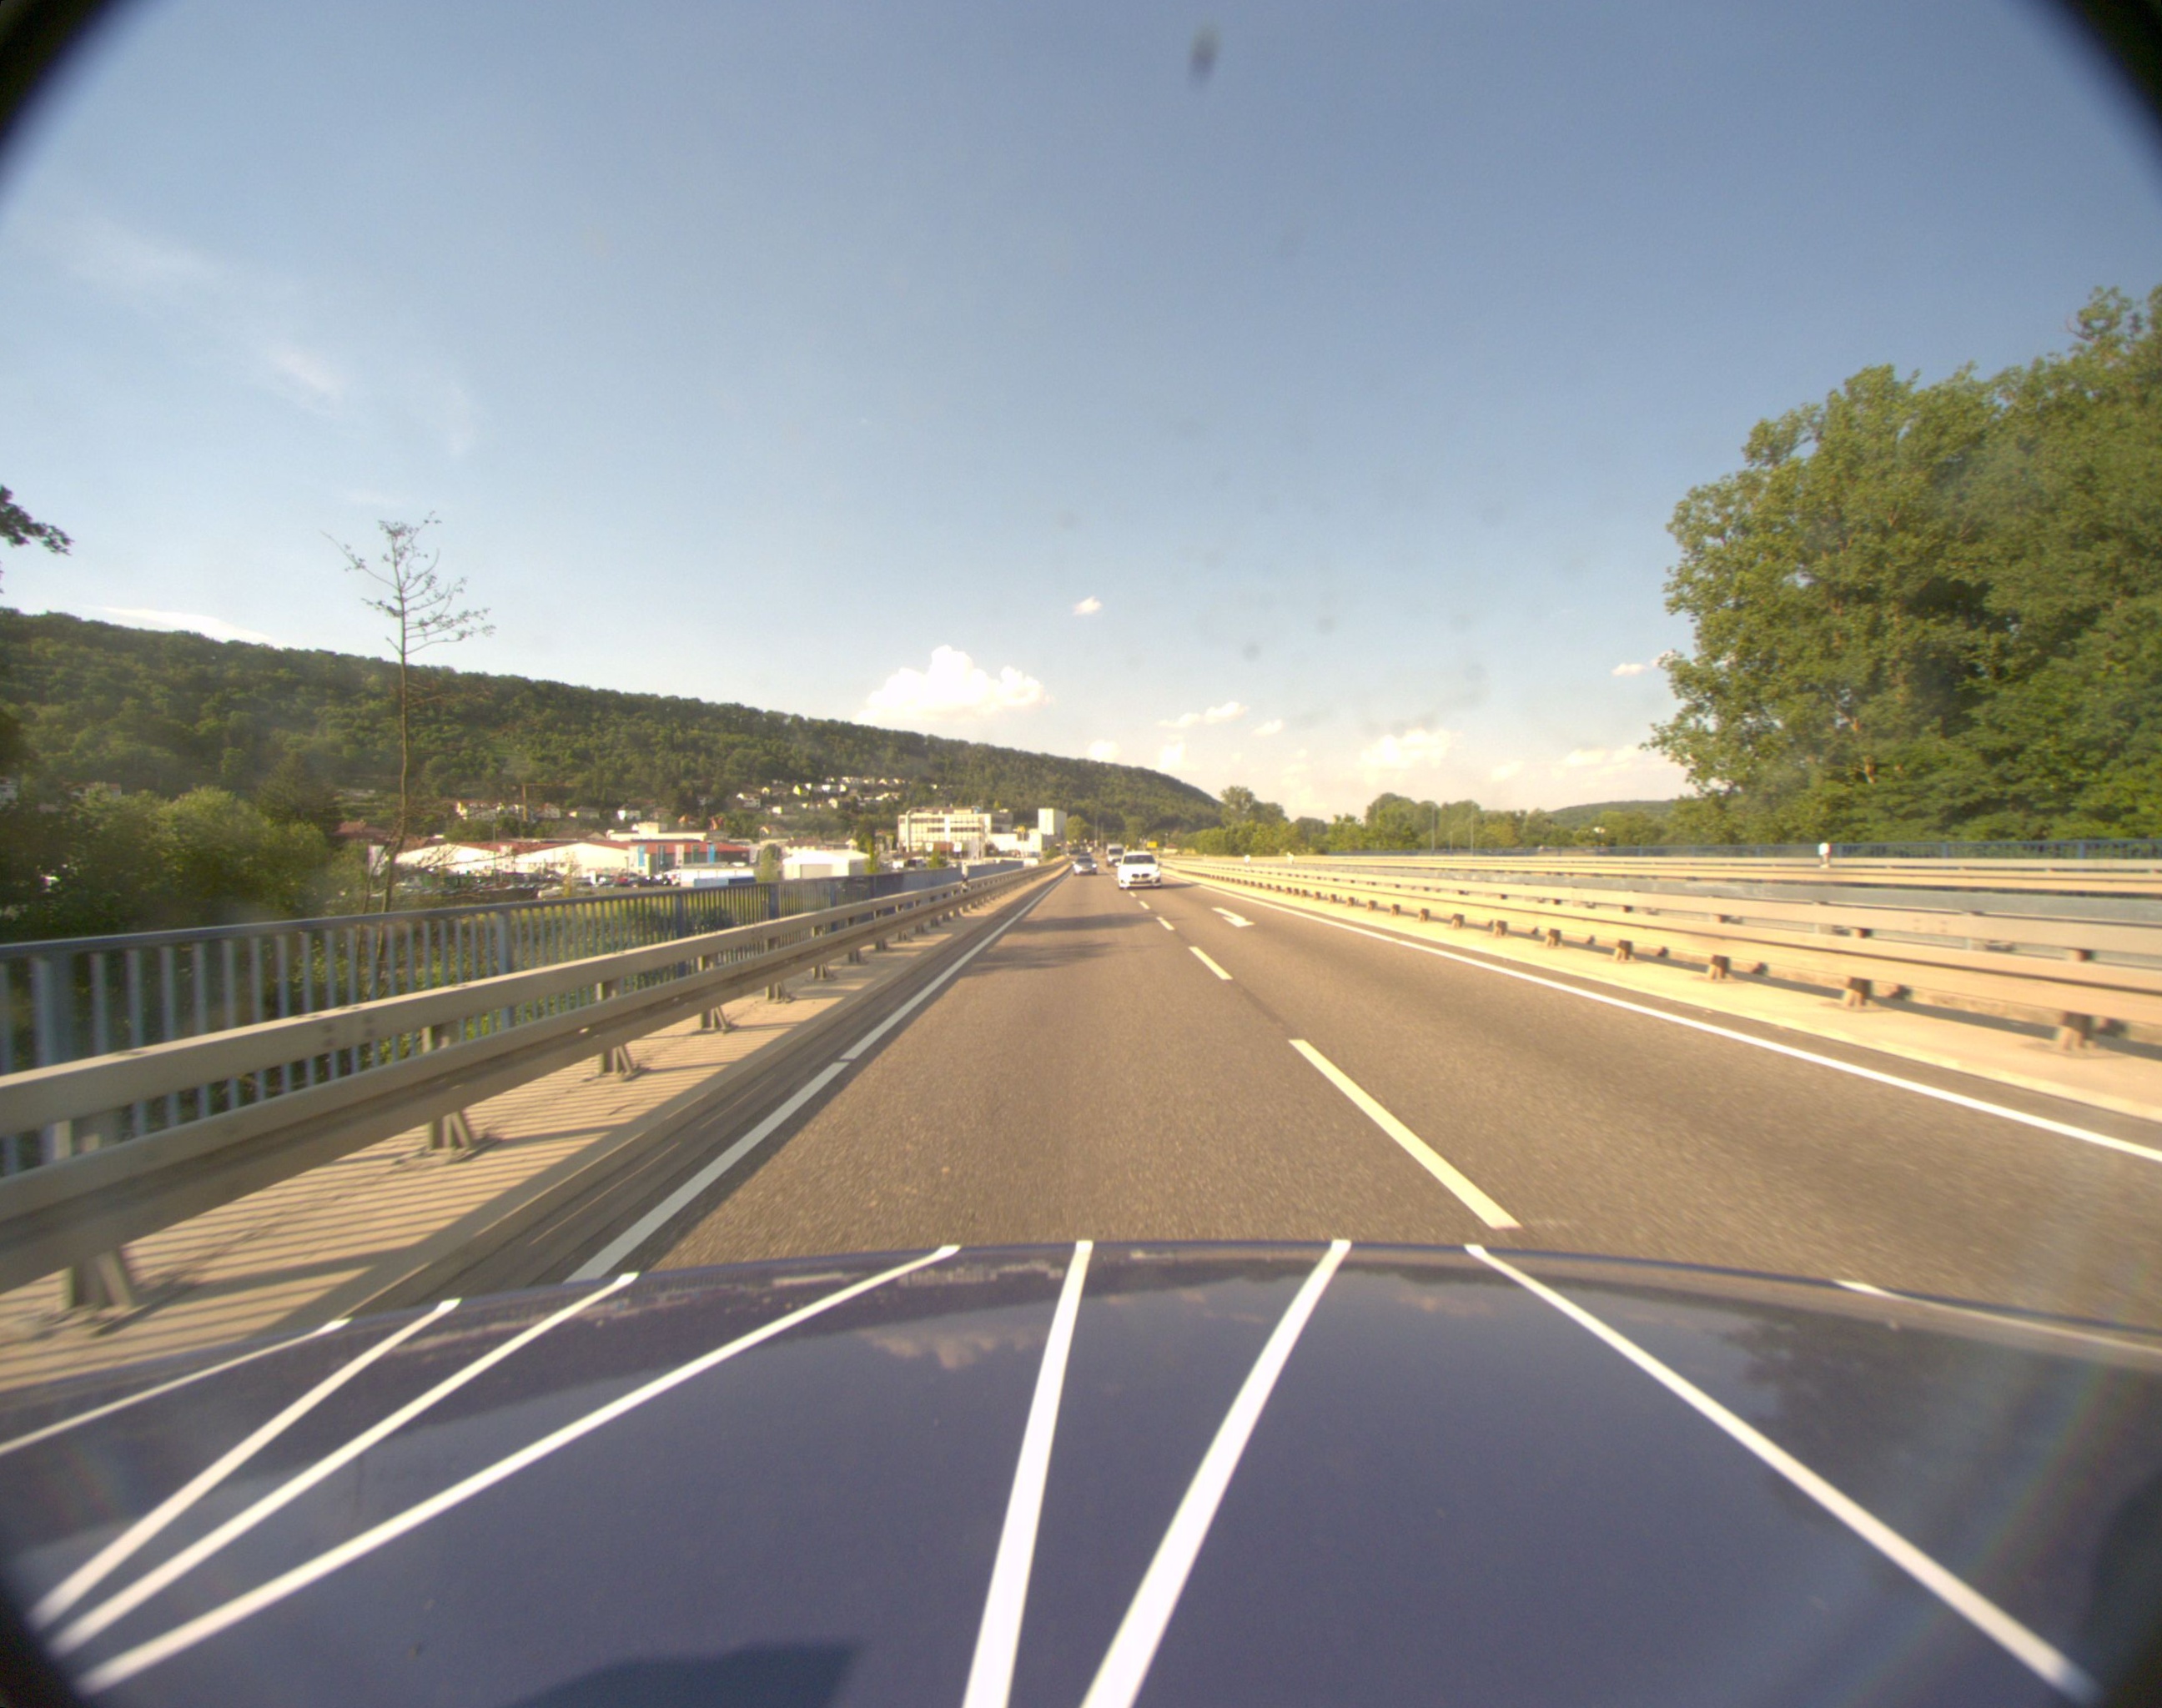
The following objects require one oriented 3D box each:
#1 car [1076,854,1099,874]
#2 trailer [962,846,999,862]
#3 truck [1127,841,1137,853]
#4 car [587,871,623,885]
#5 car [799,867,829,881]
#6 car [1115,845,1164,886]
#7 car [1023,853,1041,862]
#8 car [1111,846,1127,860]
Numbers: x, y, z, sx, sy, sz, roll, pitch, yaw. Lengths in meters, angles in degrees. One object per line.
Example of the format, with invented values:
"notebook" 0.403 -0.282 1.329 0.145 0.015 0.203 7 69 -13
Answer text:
"car" 0.490 0.729 59.080 1.690 1.383 3.882 -1 2 1
"trailer" -23.630 -0.074 178.180 7.897 3.304 3.358 -2 2 5
"truck" 16.950 -2.364 253.121 2.940 3.670 10.496 1 2 1
"car" -65.837 3.318 105.069 1.748 1.568 3.785 -2 2 22
"car" -35.486 2.641 101.002 1.884 1.627 4.730 -2 2 5
"car" 2.496 0.455 33.031 1.825 1.552 3.999 -3 2 1
"car" -11.456 0.865 176.784 3.996 1.740 1.901 -3 2 2
"car" 4.243 -0.136 85.443 1.690 1.383 3.882 -1 2 1
